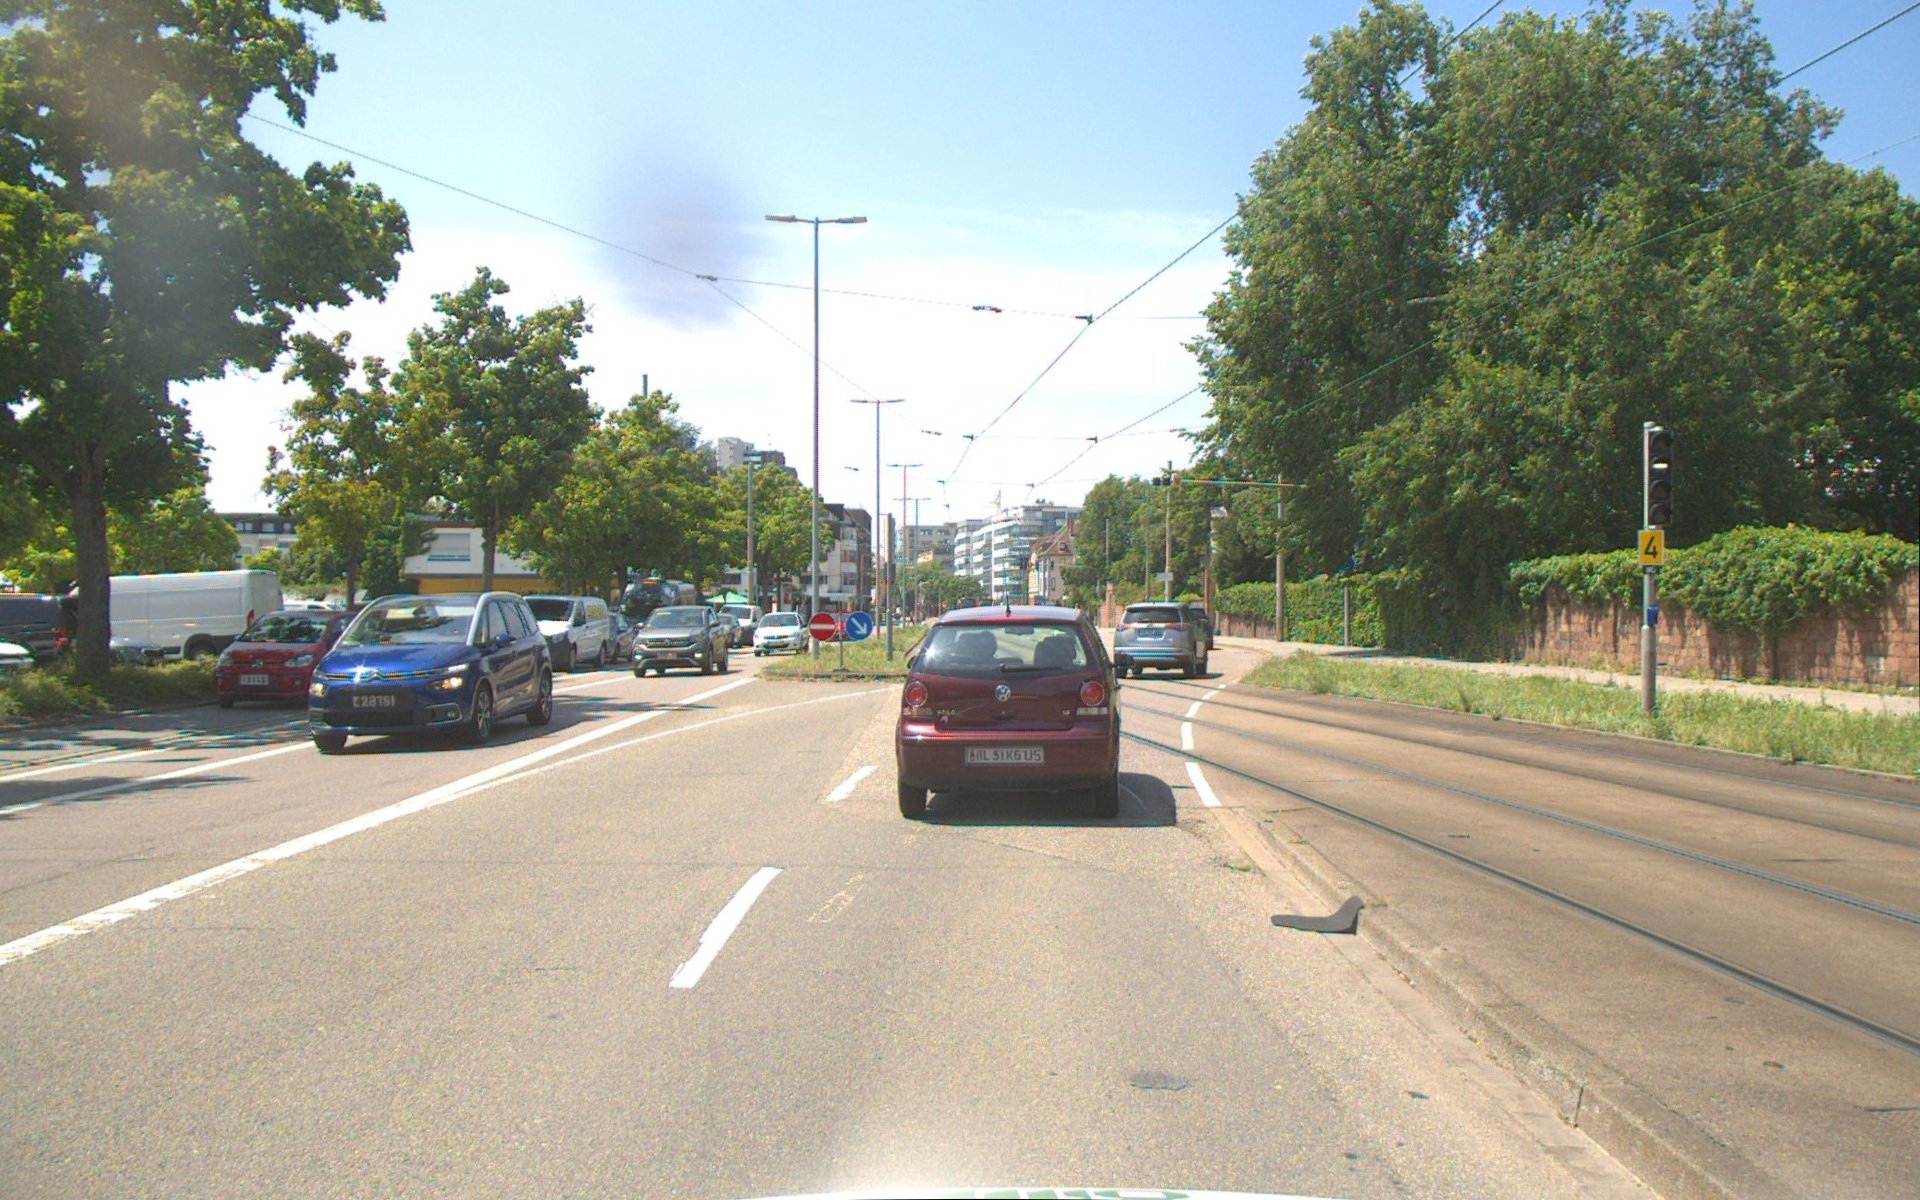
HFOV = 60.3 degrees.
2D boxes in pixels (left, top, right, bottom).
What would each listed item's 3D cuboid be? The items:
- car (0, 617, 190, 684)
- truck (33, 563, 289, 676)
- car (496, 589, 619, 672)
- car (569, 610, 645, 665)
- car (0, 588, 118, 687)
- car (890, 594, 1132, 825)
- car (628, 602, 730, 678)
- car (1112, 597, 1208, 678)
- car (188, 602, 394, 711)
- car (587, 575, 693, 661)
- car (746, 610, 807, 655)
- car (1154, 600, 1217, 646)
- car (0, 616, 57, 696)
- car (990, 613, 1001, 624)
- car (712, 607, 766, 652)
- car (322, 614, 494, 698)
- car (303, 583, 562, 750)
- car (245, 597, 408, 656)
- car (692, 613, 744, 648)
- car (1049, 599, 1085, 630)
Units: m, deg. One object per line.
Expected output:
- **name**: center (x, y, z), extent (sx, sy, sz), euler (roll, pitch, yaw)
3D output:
- **car**: center (-20.031, 1.137, 37.644), extent (4.125, 1.436, 1.856), euler (-1, 0, -2)
- **truck**: center (-20.689, 0.503, 43.020), extent (5.463, 2.808, 2.432), euler (-1, 0, 0)
- **car**: center (-10.506, 0.771, 43.508), extent (1.824, 1.971, 4.806), euler (3, 0, 2)
- **car**: center (-10.431, 1.083, 49.031), extent (1.376, 1.465, 3.839), euler (3, 0, 0)
- **car**: center (-20.464, 0.791, 35.165), extent (4.125, 2.030, 1.856), euler (-1, 0, -2)
- **car**: center (0.546, 0.756, 13.077), extent (1.575, 1.524, 4.003), euler (-1, -1, 6)
- **car**: center (-6.382, 0.880, 37.894), extent (1.702, 1.603, 3.712), euler (-1, 0, -1)
- **car**: center (4.594, 0.816, 37.595), extent (1.757, 1.712, 4.003), euler (1, 0, 13)
- **car**: center (-10.507, 0.859, 26.265), extent (1.637, 1.573, 3.727), euler (1, -1, 2)
- **car**: center (-10.950, 0.604, 57.120), extent (2.350, 2.703, 6.172), euler (3, 0, -1)
- **car**: center (-6.147, 1.080, 55.837), extent (1.615, 1.400, 3.810), euler (-2, -1, -1)
- **car**: center (8.493, 0.862, 62.624), extent (1.738, 1.659, 3.999), euler (1, 0, -2)
- **car**: center (-20.689, 1.109, 32.541), extent (4.665, 1.514, 2.057), euler (-1, 0, -2)
- **car**: center (4.310, 2.197, 201.101), extent (1.326, 1.274, 2.972), euler (1, 0, 0)
- **car**: center (-10.632, 1.384, 79.974), extent (1.837, 1.999, 5.163), euler (3, 0, 0)
- **car**: center (-10.385, 1.010, 31.505), extent (1.683, 1.452, 4.770), euler (0, 0, 0)
- **car**: center (-5.942, 0.699, 19.130), extent (1.702, 1.686, 4.066), euler (-1, 0, -1)
- **car**: center (-20.642, 0.842, 54.028), extent (4.623, 1.845, 1.796), euler (-1, 0, -2)
- **car**: center (-10.744, 1.349, 73.583), extent (1.597, 1.444, 3.867), euler (2, 0, 2)
- **car**: center (6.009, 0.807, 93.324), extent (1.758, 1.712, 4.000), euler (-1, 0, 0)
